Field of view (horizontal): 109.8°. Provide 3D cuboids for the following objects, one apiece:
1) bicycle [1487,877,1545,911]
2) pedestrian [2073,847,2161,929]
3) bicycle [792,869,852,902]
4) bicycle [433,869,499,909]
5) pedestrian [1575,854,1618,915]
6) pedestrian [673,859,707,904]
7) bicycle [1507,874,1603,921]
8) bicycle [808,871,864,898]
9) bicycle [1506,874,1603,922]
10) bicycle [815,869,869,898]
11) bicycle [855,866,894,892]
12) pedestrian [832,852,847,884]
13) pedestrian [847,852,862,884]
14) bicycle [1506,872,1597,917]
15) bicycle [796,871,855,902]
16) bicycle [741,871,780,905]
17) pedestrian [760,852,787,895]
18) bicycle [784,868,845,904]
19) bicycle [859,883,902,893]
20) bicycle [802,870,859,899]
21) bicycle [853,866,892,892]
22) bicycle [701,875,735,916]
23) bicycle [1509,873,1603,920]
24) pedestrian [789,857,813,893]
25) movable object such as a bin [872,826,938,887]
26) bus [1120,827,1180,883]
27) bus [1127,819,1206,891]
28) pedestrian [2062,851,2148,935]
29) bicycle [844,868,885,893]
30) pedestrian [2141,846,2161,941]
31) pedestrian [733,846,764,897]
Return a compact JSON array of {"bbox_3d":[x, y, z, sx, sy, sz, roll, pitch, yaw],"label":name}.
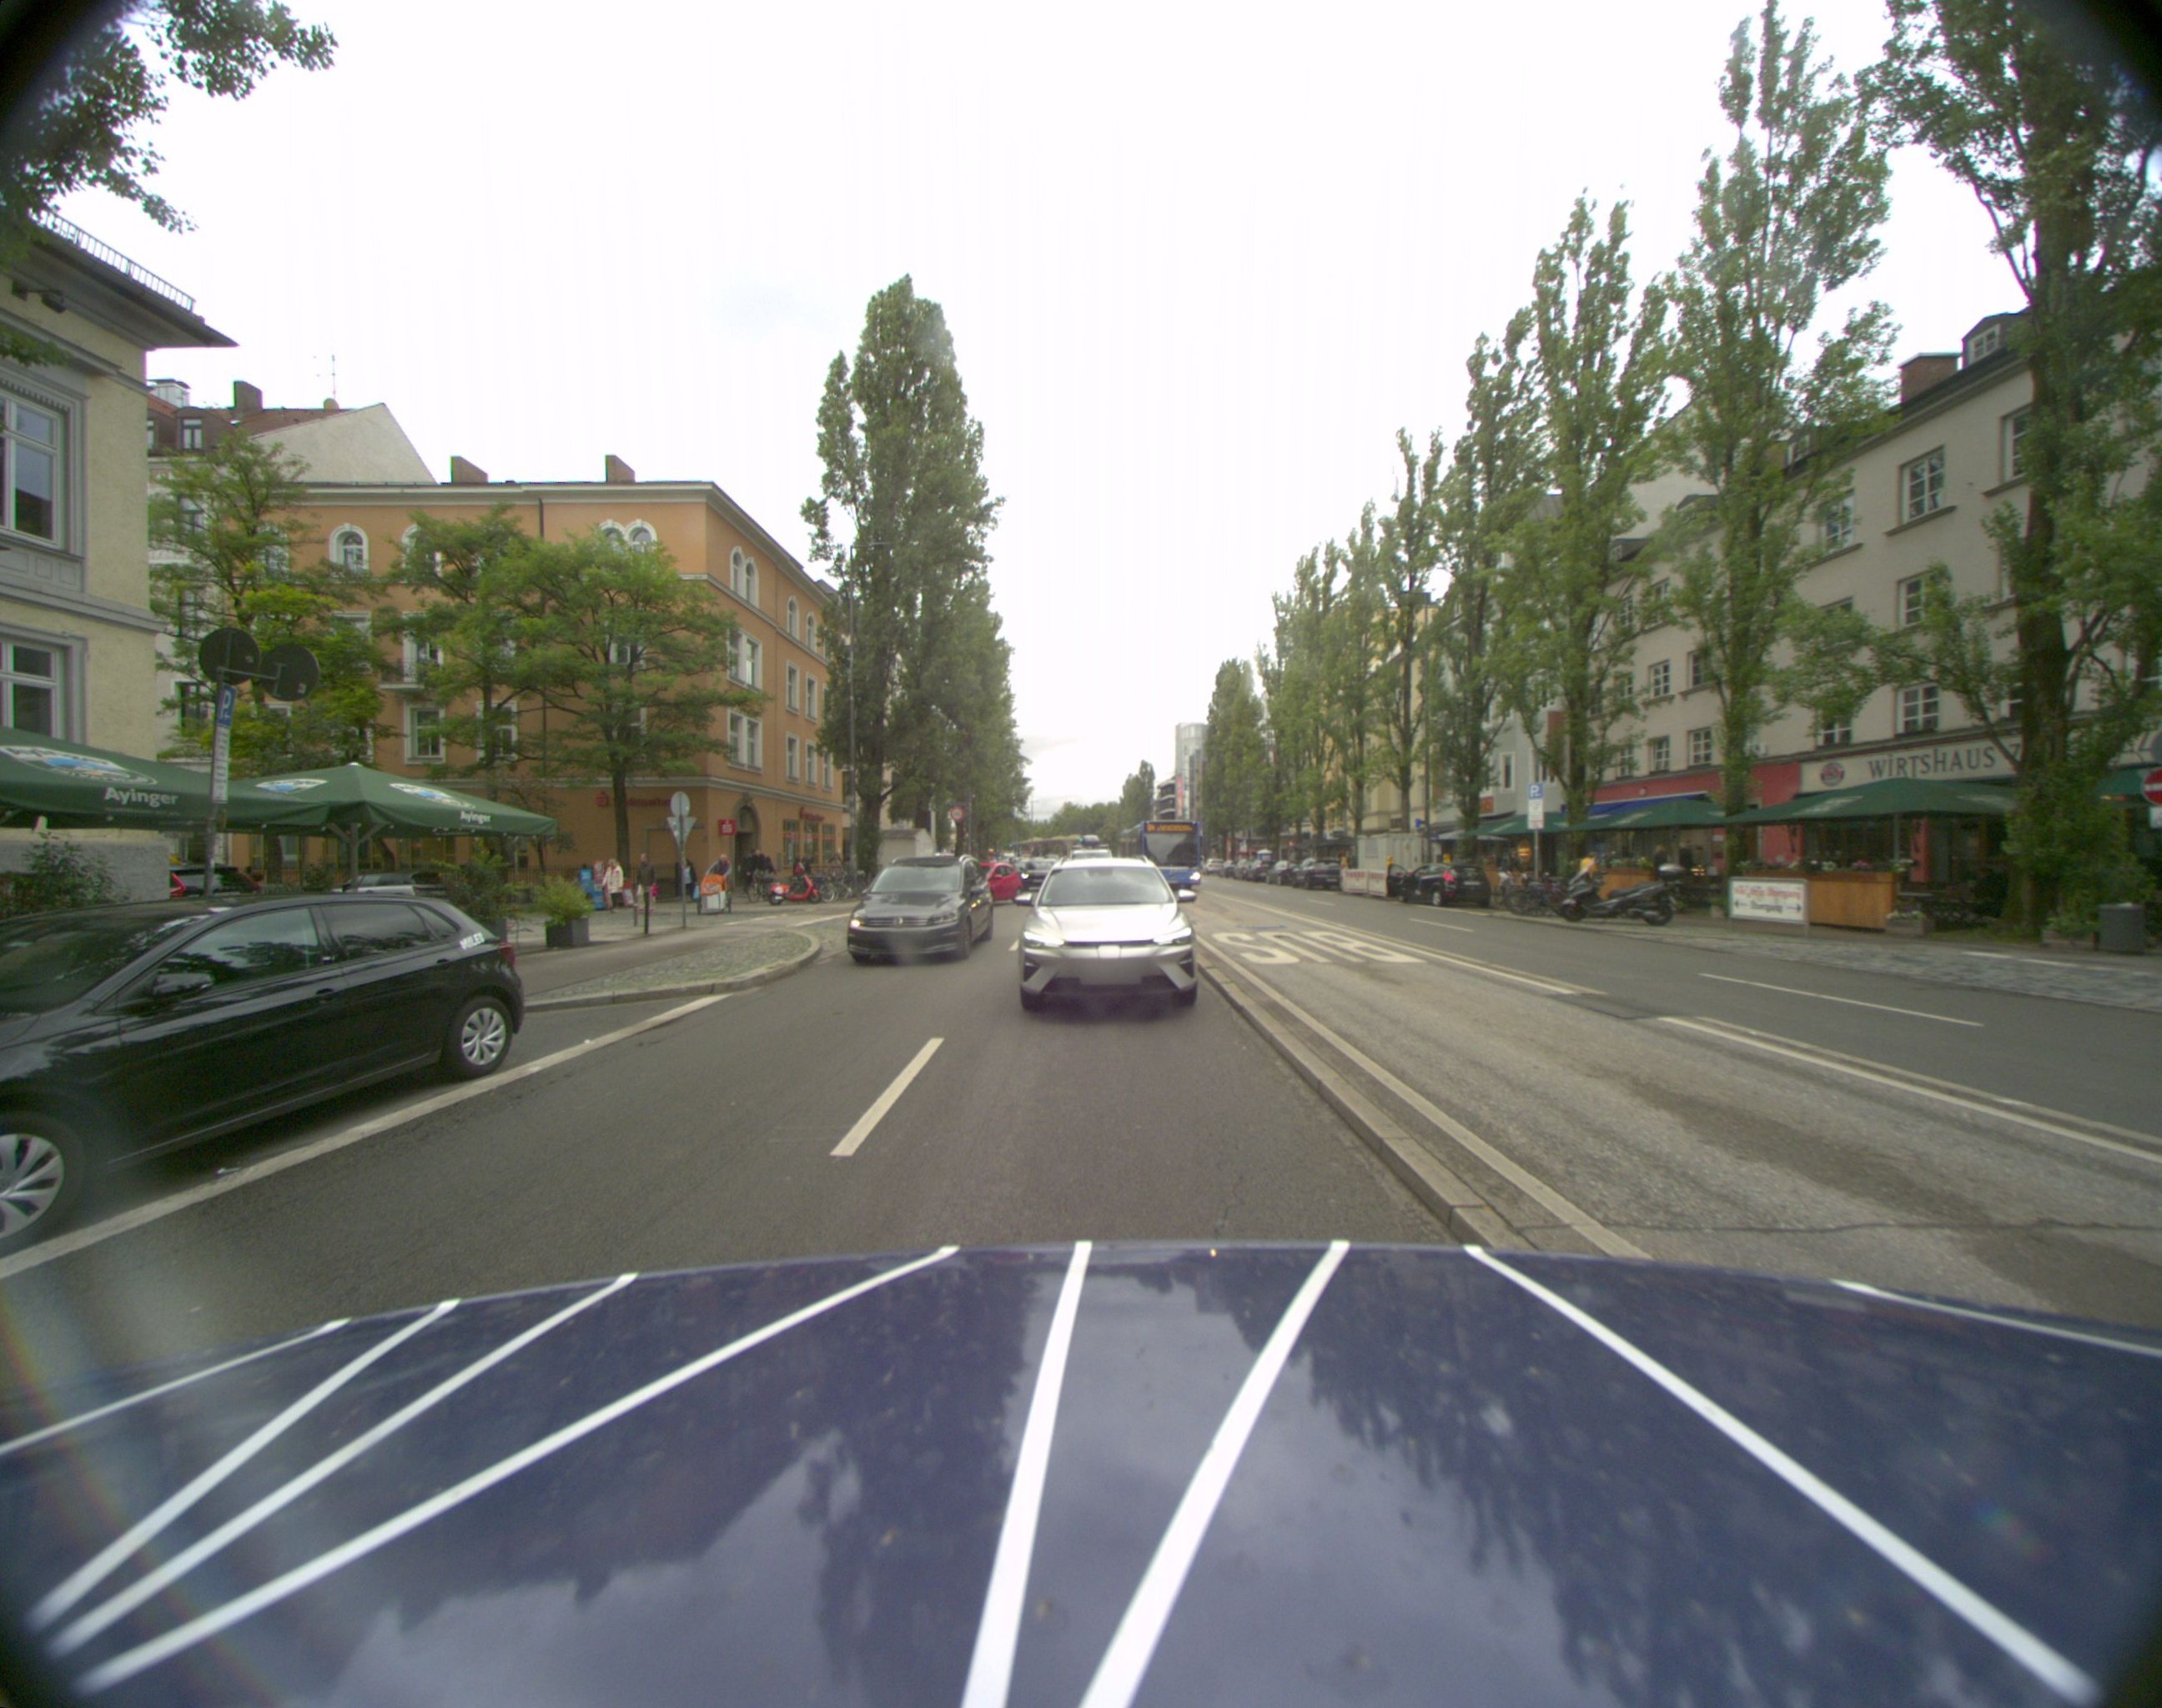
[{"bbox_3d":[13.744,1.237,24.084,0.613,0.963,2.174,-1,0,1],"label":"bicycle"},{"bbox_3d":[21.333,0.668,15.594,0.699,1.637,0.929,0,1,6],"label":"pedestrian"},{"bbox_3d":[-9.329,1.131,27.399,1.945,1.130,0.561,-1,1,1],"label":"bicycle"},{"bbox_3d":[-22.593,1.279,27.932,1.945,1.364,0.561,-2,0,2],"label":"bicycle"},{"bbox_3d":[14.692,0.863,21.683,0.731,1.716,0.700,0,1,-3],"label":"pedestrian"},{"bbox_3d":[-13.885,0.960,26.996,0.745,1.562,0.664,-2,1,4],"label":"pedestrian"},{"bbox_3d":[11.769,1.060,18.917,1.976,1.119,0.283,-2,1,37],"label":"bicycle"},{"bbox_3d":[-9.468,1.187,29.398,1.945,1.004,0.561,-1,0,1],"label":"bicycle"},{"bbox_3d":[11.578,1.062,18.633,1.976,1.119,0.361,-2,1,37],"label":"bicycle"},{"bbox_3d":[-9.458,1.168,30.146,1.945,1.078,0.561,-1,1,1],"label":"bicycle"},{"bbox_3d":[-9.003,1.089,33.121,1.604,1.078,0.341,-1,1,-22],"label":"bicycle"},{"bbox_3d":[-13.028,0.746,41.003,0.634,1.684,0.574,-2,1,-5],"label":"pedestrian"},{"bbox_3d":[-12.311,0.756,41.351,0.619,1.684,0.574,-2,1,-3],"label":"pedestrian"},{"bbox_3d":[12.252,1.045,19.831,1.976,1.119,0.343,-2,1,37],"label":"bicycle"},{"bbox_3d":[-9.422,1.194,28.050,1.945,1.082,0.561,-1,1,1],"label":"bicycle"},{"bbox_3d":[-11.455,1.183,27.260,0.737,1.113,2.100,-1,0,-7],"label":"bicycle"},{"bbox_3d":[-12.283,0.772,30.329,0.746,1.651,0.770,-2,1,-6],"label":"pedestrian"},{"bbox_3d":[-9.369,1.113,26.756,1.945,1.232,0.561,-1,1,1],"label":"bicycle"},{"bbox_3d":[-8.522,1.465,32.374,1.677,0.371,0.830,1,0,-7],"label":"bicycle"},{"bbox_3d":[-9.482,1.163,28.793,1.945,1.069,0.561,-1,1,1],"label":"bicycle"},{"bbox_3d":[-9.159,1.092,33.452,1.610,1.078,0.321,-1,1,-22],"label":"bicycle"},{"bbox_3d":[-10.917,1.223,22.842,0.888,1.113,2.097,-1,0,-26],"label":"bicycle"},{"bbox_3d":[11.943,1.051,19.141,1.976,1.119,0.283,-2,1,37],"label":"bicycle"},{"bbox_3d":[-12.311,0.917,33.413,0.745,1.562,0.614,-2,1,3],"label":"pedestrian"},{"bbox_3d":[-9.418,0.132,41.081,2.445,3.119,4.544,1,0,1],"label":"movable object such as a bin"},{"bbox_3d":[3.861,0.046,44.843,2.690,2.932,10.052,0,0,0],"label":"bus"},{"bbox_3d":[3.790,0.036,36.047,2.696,2.932,10.052,0,0,0],"label":"bus"},{"bbox_3d":[20.241,0.746,15.032,0.699,1.614,0.732,0,1,4],"label":"pedestrian"},{"bbox_3d":[-8.981,1.111,31.504,1.602,1.004,0.342,-1,1,-6],"label":"bicycle"},{"bbox_3d":[19.694,0.706,13.388,0.699,1.712,0.950,0,0,4],"label":"pedestrian"},{"bbox_3d":[-13.152,0.686,30.075,0.840,1.937,0.801,-2,1,-4],"label":"pedestrian"}]
